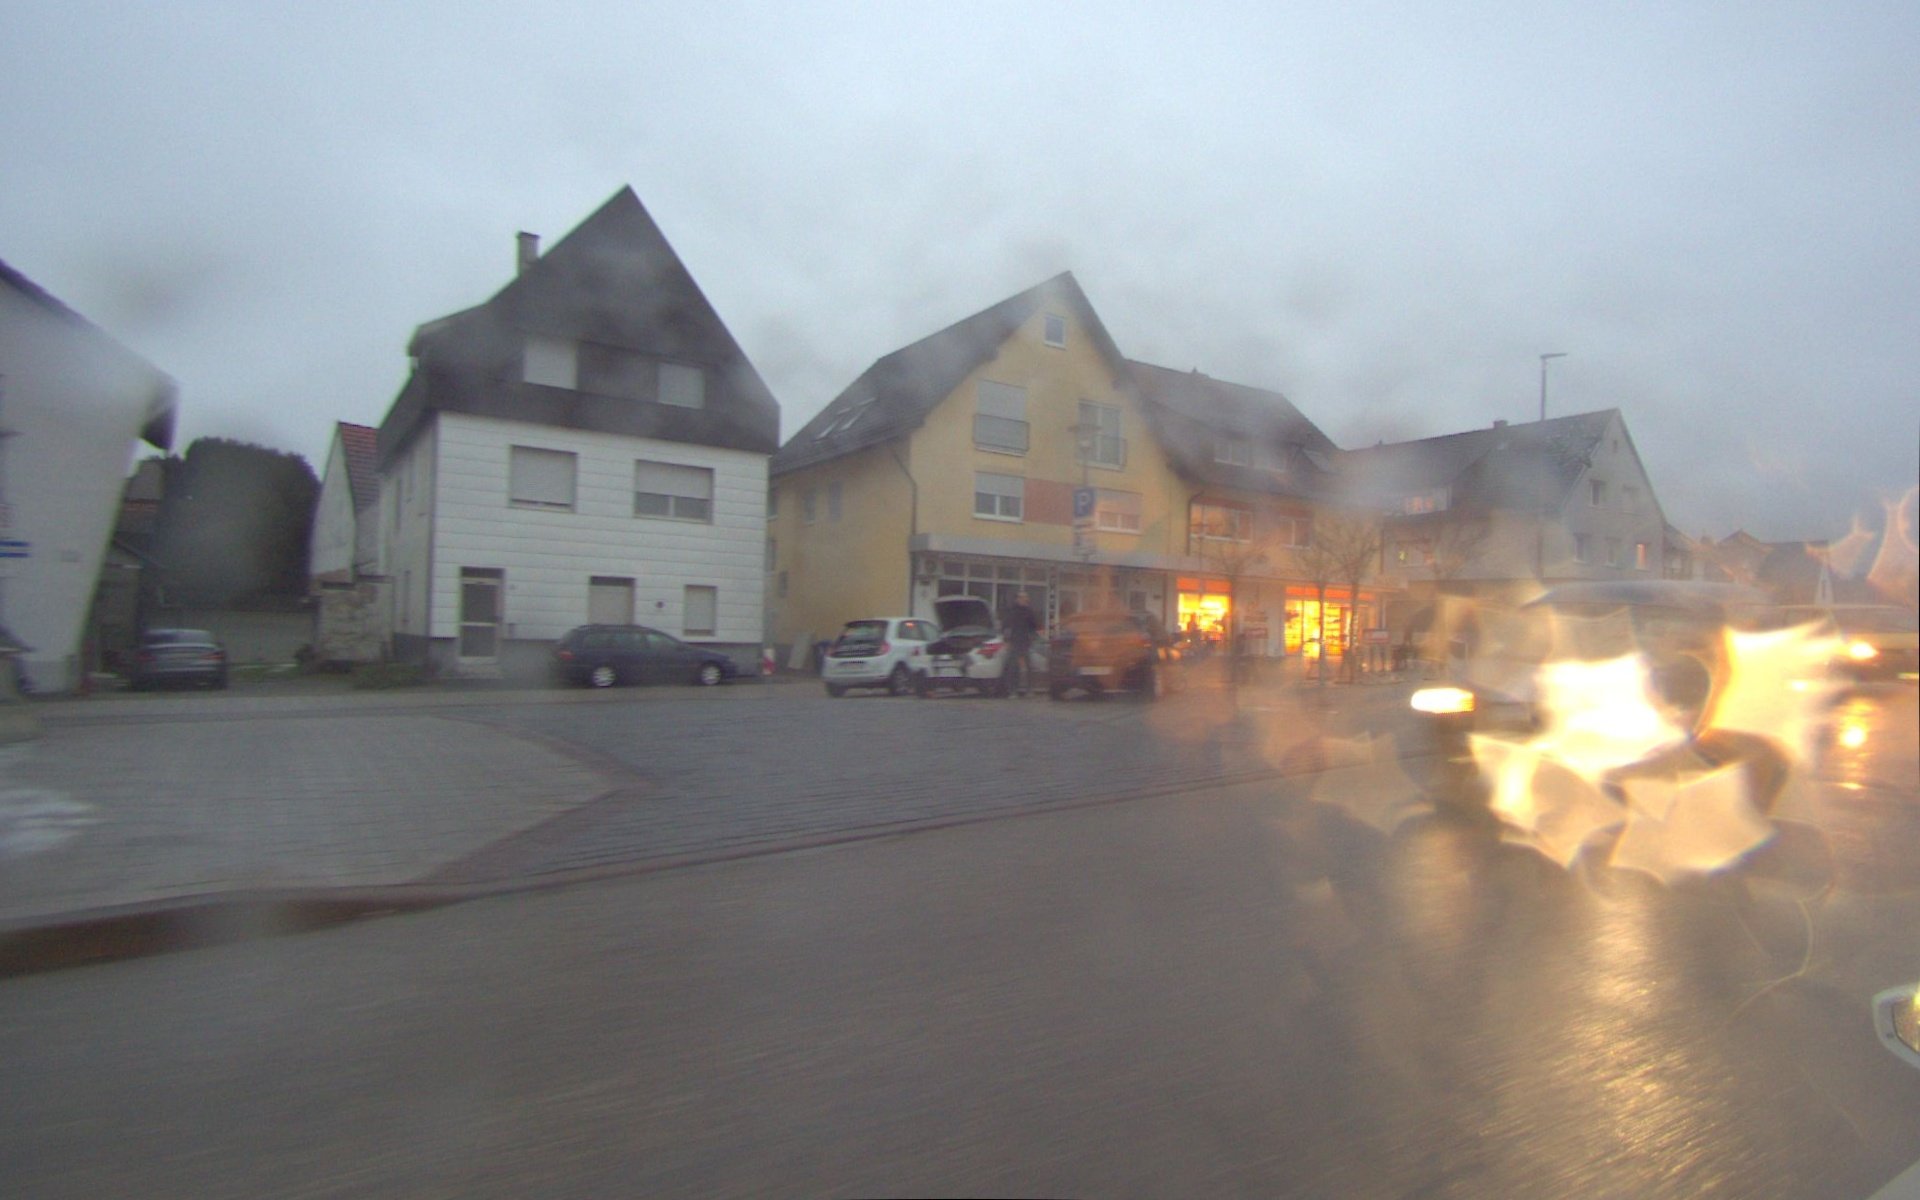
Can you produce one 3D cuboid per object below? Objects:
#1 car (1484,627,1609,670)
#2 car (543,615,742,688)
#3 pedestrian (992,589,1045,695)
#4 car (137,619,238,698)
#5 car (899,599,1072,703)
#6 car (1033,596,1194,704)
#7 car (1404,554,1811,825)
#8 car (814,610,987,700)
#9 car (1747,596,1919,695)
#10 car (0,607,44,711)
[{"bbox_3d":[22.113,1.816,38.015,1.691,1.440,3.820,4,-2,-22],"label":"car"},{"bbox_3d":[-7.868,1.233,24.983,4.374,1.520,1.900,1,3,-32],"label":"car"},{"bbox_3d":[0.984,0.708,16.826,0.824,1.734,0.725,-1,-2,7],"label":"pedestrian"},{"bbox_3d":[-18.363,1.415,23.886,1.703,1.704,3.957,4,-5,-38],"label":"car"},{"bbox_3d":[0.589,0.908,18.433,1.805,1.692,3.895,-2,-2,24],"label":"car"},{"bbox_3d":[2.744,0.800,17.043,1.876,1.551,4.181,1,-1,20],"label":"car"},{"bbox_3d":[5.749,0.633,8.737,4.099,1.837,1.706,1,0,-38],"label":"car"},{"bbox_3d":[-1.114,1.102,20.735,1.733,1.652,3.994,-2,-2,28],"label":"car"},{"bbox_3d":[20.702,1.012,23.548,1.960,2.040,4.901,1,-1,19],"label":"car"},{"bbox_3d":[-16.937,0.882,15.415,4.057,1.590,1.761,2,-1,-38],"label":"car"}]
